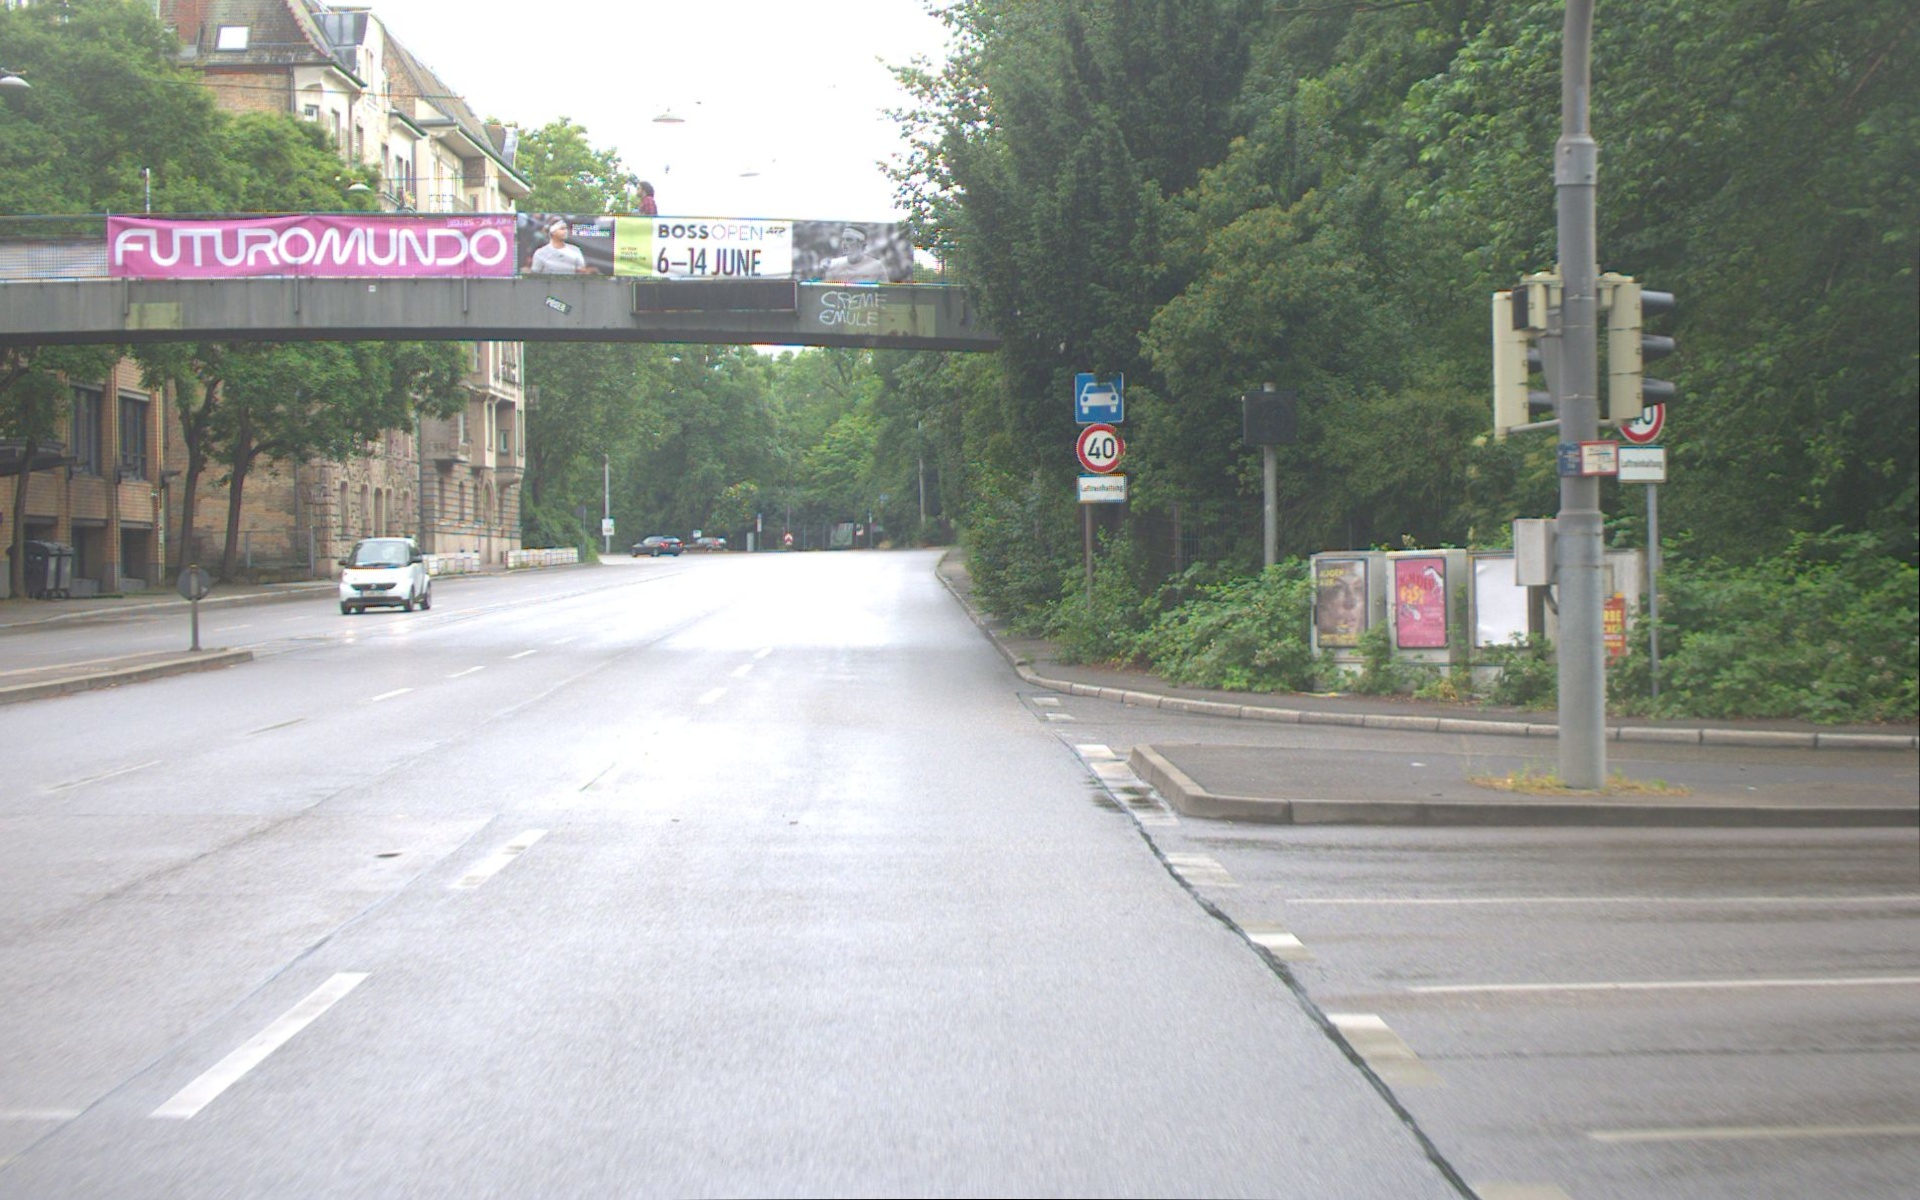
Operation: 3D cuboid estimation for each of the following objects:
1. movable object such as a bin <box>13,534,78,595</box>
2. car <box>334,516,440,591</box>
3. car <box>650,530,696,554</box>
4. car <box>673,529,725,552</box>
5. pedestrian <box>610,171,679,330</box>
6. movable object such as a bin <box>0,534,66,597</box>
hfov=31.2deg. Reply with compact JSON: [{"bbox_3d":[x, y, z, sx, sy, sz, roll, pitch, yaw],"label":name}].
[{"bbox_3d":[-22.737,-0.884,85.472,1.299,1.513,1.214,0,1,0],"label":"movable object such as a bin"},{"bbox_3d":[-11.954,-0.973,71.898,1.600,1.494,3.712,-1,1,-1],"label":"car"},{"bbox_3d":[-19.833,-3.996,237.169,2.004,1.638,4.377,0,1,-21],"label":"car"},{"bbox_3d":[-19.027,-4.332,250.631,3.587,1.542,1.613,2,1,1],"label":"car"},{"bbox_3d":[-4.903,-5.408,53.331,0.954,2.337,1.007,2,0,-7],"label":"pedestrian"},{"bbox_3d":[-22.617,-0.852,83.836,1.282,1.513,1.273,0,1,0],"label":"movable object such as a bin"}]
